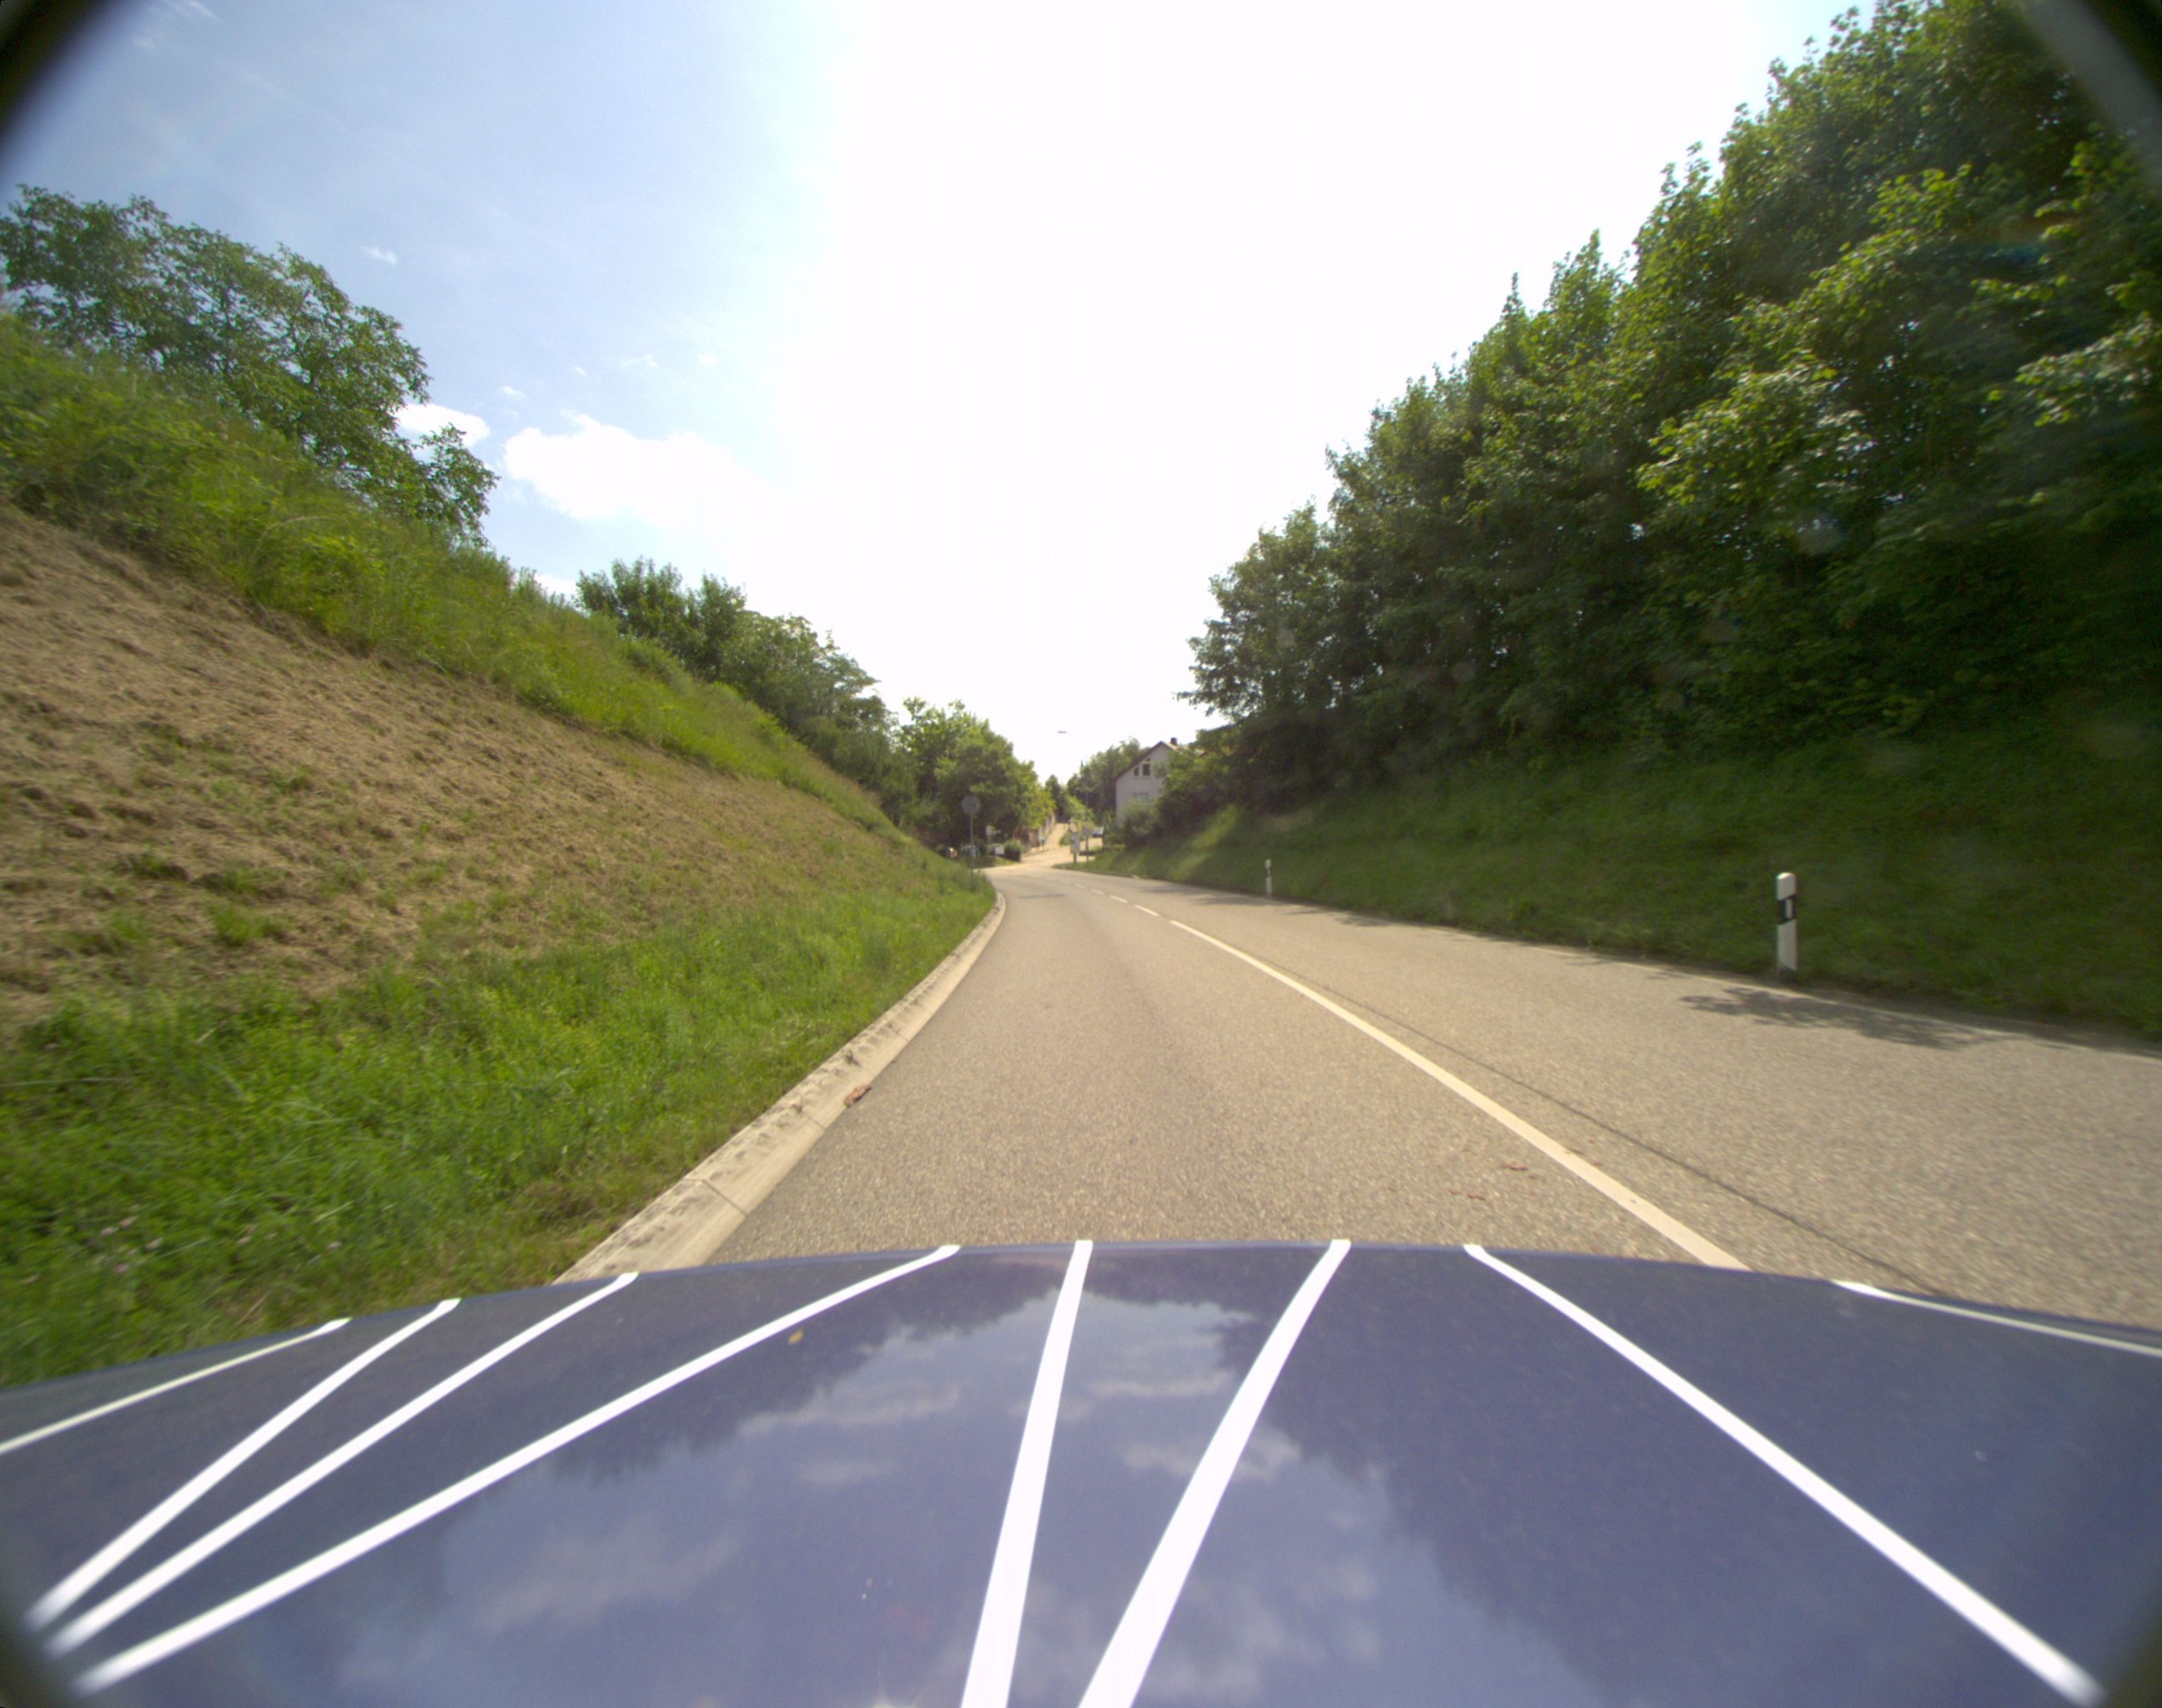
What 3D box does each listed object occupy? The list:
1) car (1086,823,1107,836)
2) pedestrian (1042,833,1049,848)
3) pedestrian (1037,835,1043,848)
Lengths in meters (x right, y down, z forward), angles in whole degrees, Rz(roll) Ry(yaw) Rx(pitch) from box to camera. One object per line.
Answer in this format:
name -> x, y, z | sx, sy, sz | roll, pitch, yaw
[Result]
car -> 2.329, -3.711, 115.552 | 1.857, 1.634, 4.385 | -5, 2, -18
pedestrian -> -4.100, -1.536, 87.830 | 0.687, 1.703, 0.789 | -4, 3, 4
pedestrian -> -4.719, -1.444, 87.589 | 0.574, 1.546, 0.599 | -4, 3, 4
